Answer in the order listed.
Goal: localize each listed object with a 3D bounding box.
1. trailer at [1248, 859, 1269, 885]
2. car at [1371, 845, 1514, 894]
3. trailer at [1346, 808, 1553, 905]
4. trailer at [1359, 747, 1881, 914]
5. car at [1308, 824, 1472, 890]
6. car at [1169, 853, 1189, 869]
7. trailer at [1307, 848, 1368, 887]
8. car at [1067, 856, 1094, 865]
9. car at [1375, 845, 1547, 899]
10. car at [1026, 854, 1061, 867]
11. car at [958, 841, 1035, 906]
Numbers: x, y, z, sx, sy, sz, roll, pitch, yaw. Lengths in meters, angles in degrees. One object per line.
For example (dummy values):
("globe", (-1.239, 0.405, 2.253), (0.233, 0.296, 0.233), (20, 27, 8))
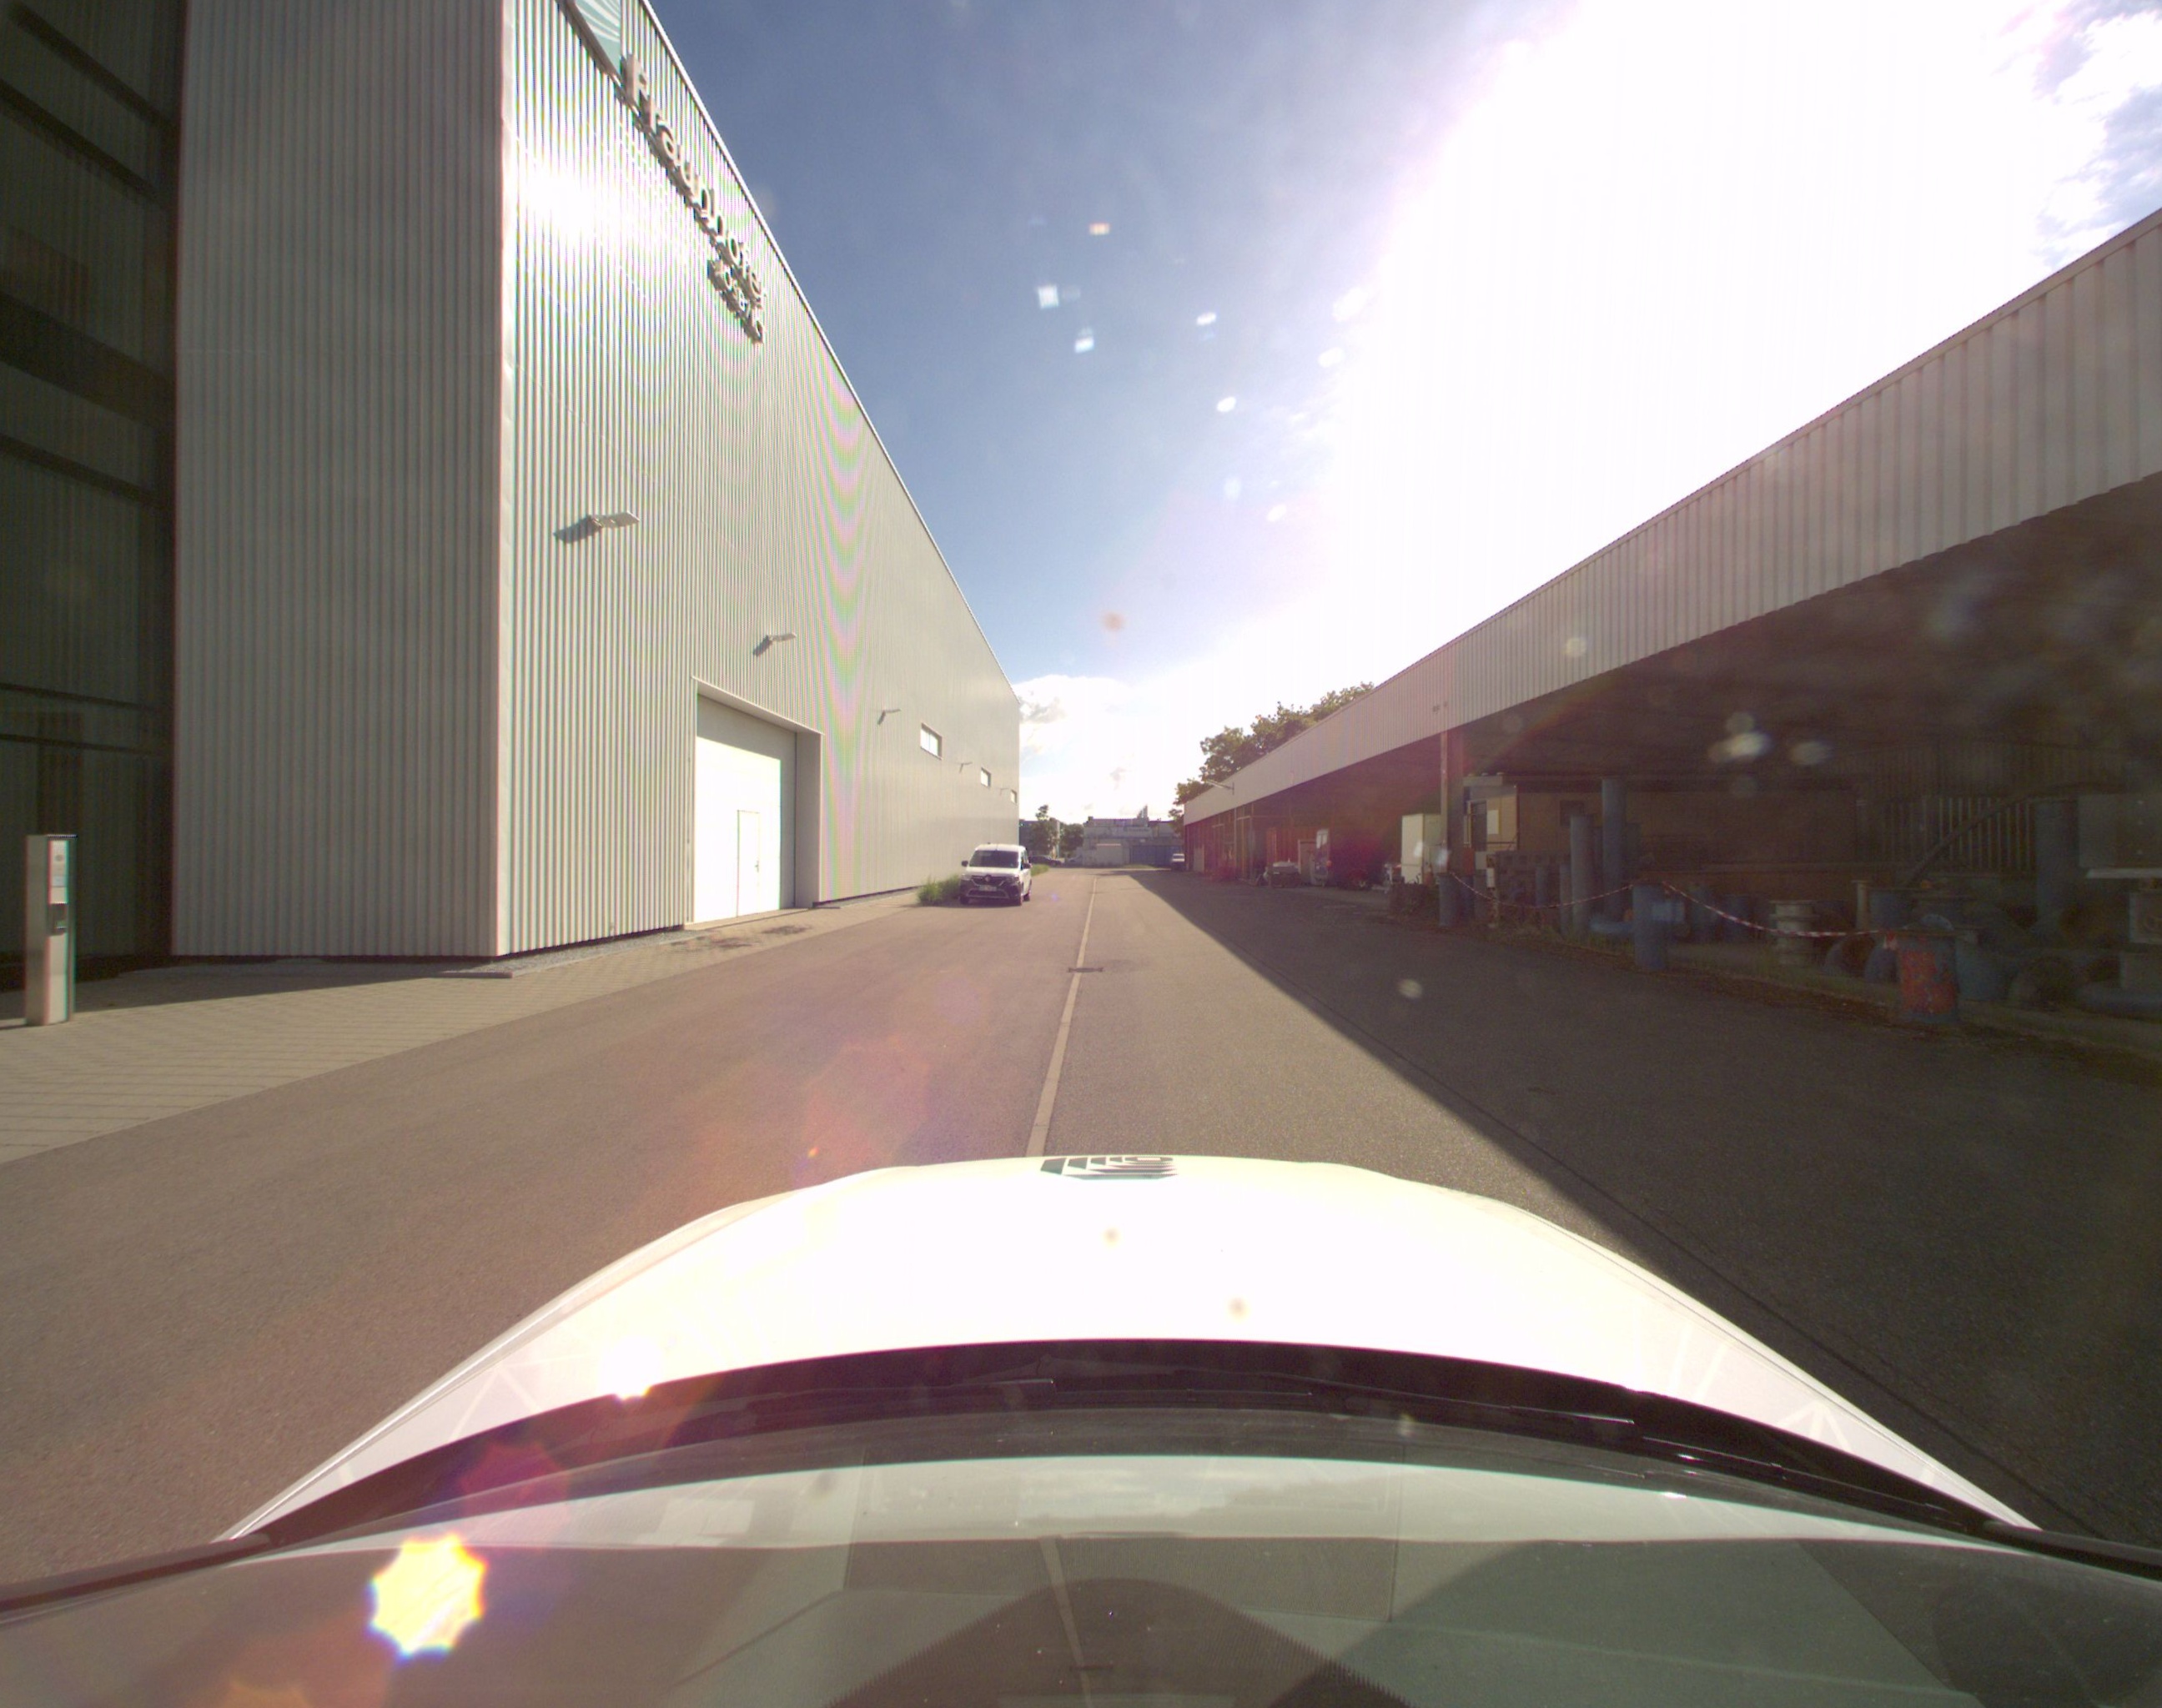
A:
("trailer", (7.839, 0.774, 36.092), (0.550, 1.118, 1.546), (-1, -1, -1))
("car", (11.997, 0.500, 27.163), (3.953, 1.514, 1.839), (-1, -1, -2))
("trailer", (9.612, 0.074, 21.553), (4.499, 2.342, 2.048), (-2, -1, 2))
("trailer", (12.104, -0.491, 19.028), (10.230, 3.343, 2.802), (-2, 0, 1))
("car", (11.390, 0.122, 30.328), (5.314, 2.281, 2.152), (-1, -1, 0))
("car", (11.358, 0.782, 94.636), (1.971, 1.602, 4.381), (-1, 1, 3))
("trailer", (10.340, 0.540, 32.952), (2.028, 1.466, 1.741), (-2, 0, 5))
("car", (-0.070, 1.049, 135.140), (4.288, 1.457, 1.824), (-1, -1, 0))
("car", (11.155, 0.515, 24.087), (4.237, 1.471, 1.868), (-1, 0, -2))
("car", (-4.958, 0.874, 107.299), (4.432, 1.531, 1.824), (-1, -1, 0))
("car", (-2.509, 0.572, 25.293), (1.777, 1.816, 4.602), (1, -1, 1))
